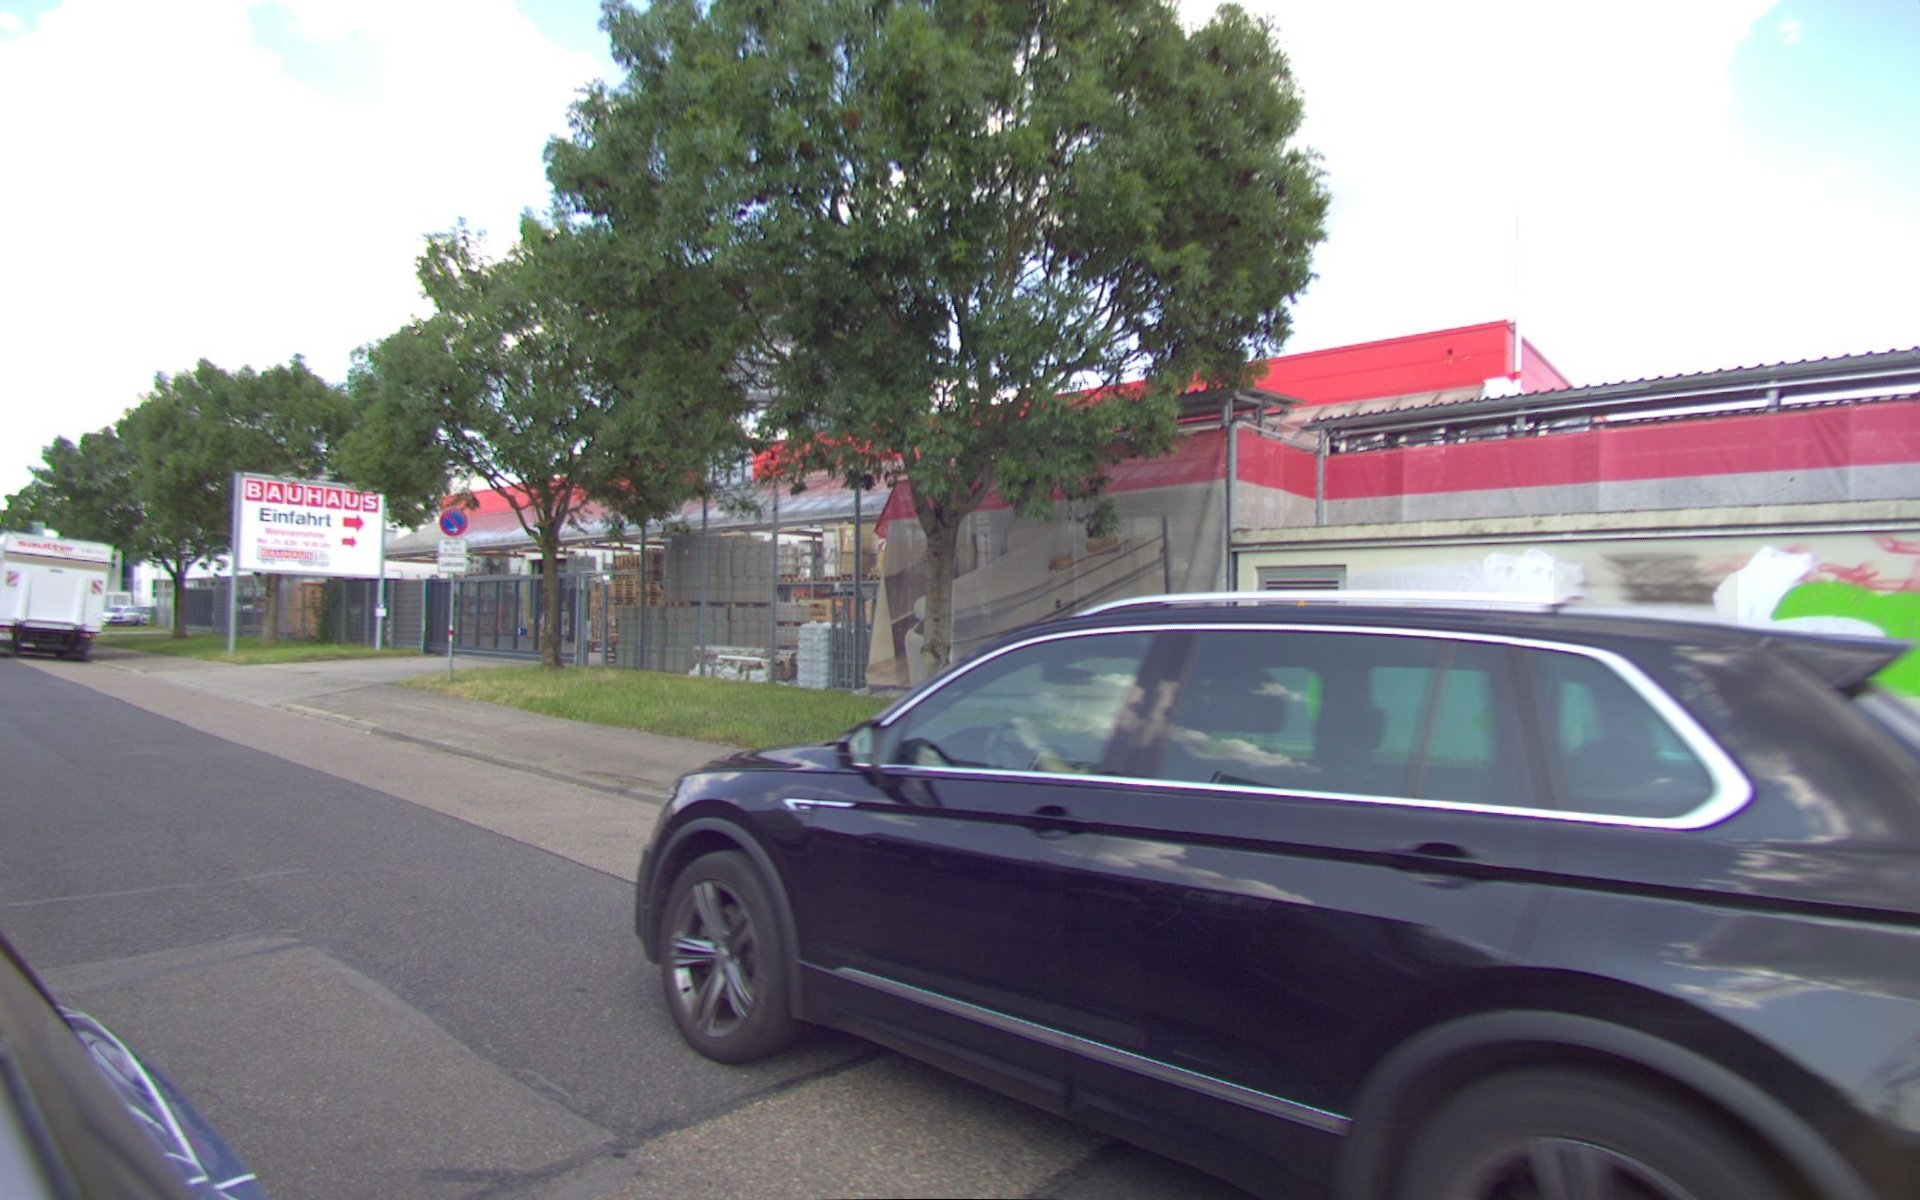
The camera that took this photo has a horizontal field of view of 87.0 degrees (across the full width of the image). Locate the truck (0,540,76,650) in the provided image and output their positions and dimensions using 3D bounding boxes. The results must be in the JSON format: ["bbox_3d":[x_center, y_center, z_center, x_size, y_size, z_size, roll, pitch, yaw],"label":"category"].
[{"bbox_3d":[-36.150,-0.166,38.520,7.170,3.838,2.718,0,-3,42],"label":"truck"}]

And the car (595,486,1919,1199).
[{"bbox_3d":[0.861,0.741,3.137,4.293,1.632,1.854,0,-6,42],"label":"car"}]

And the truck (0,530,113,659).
[{"bbox_3d":[-29.973,-0.137,32.785,7.170,3.751,2.718,1,-3,42],"label":"truck"}]
